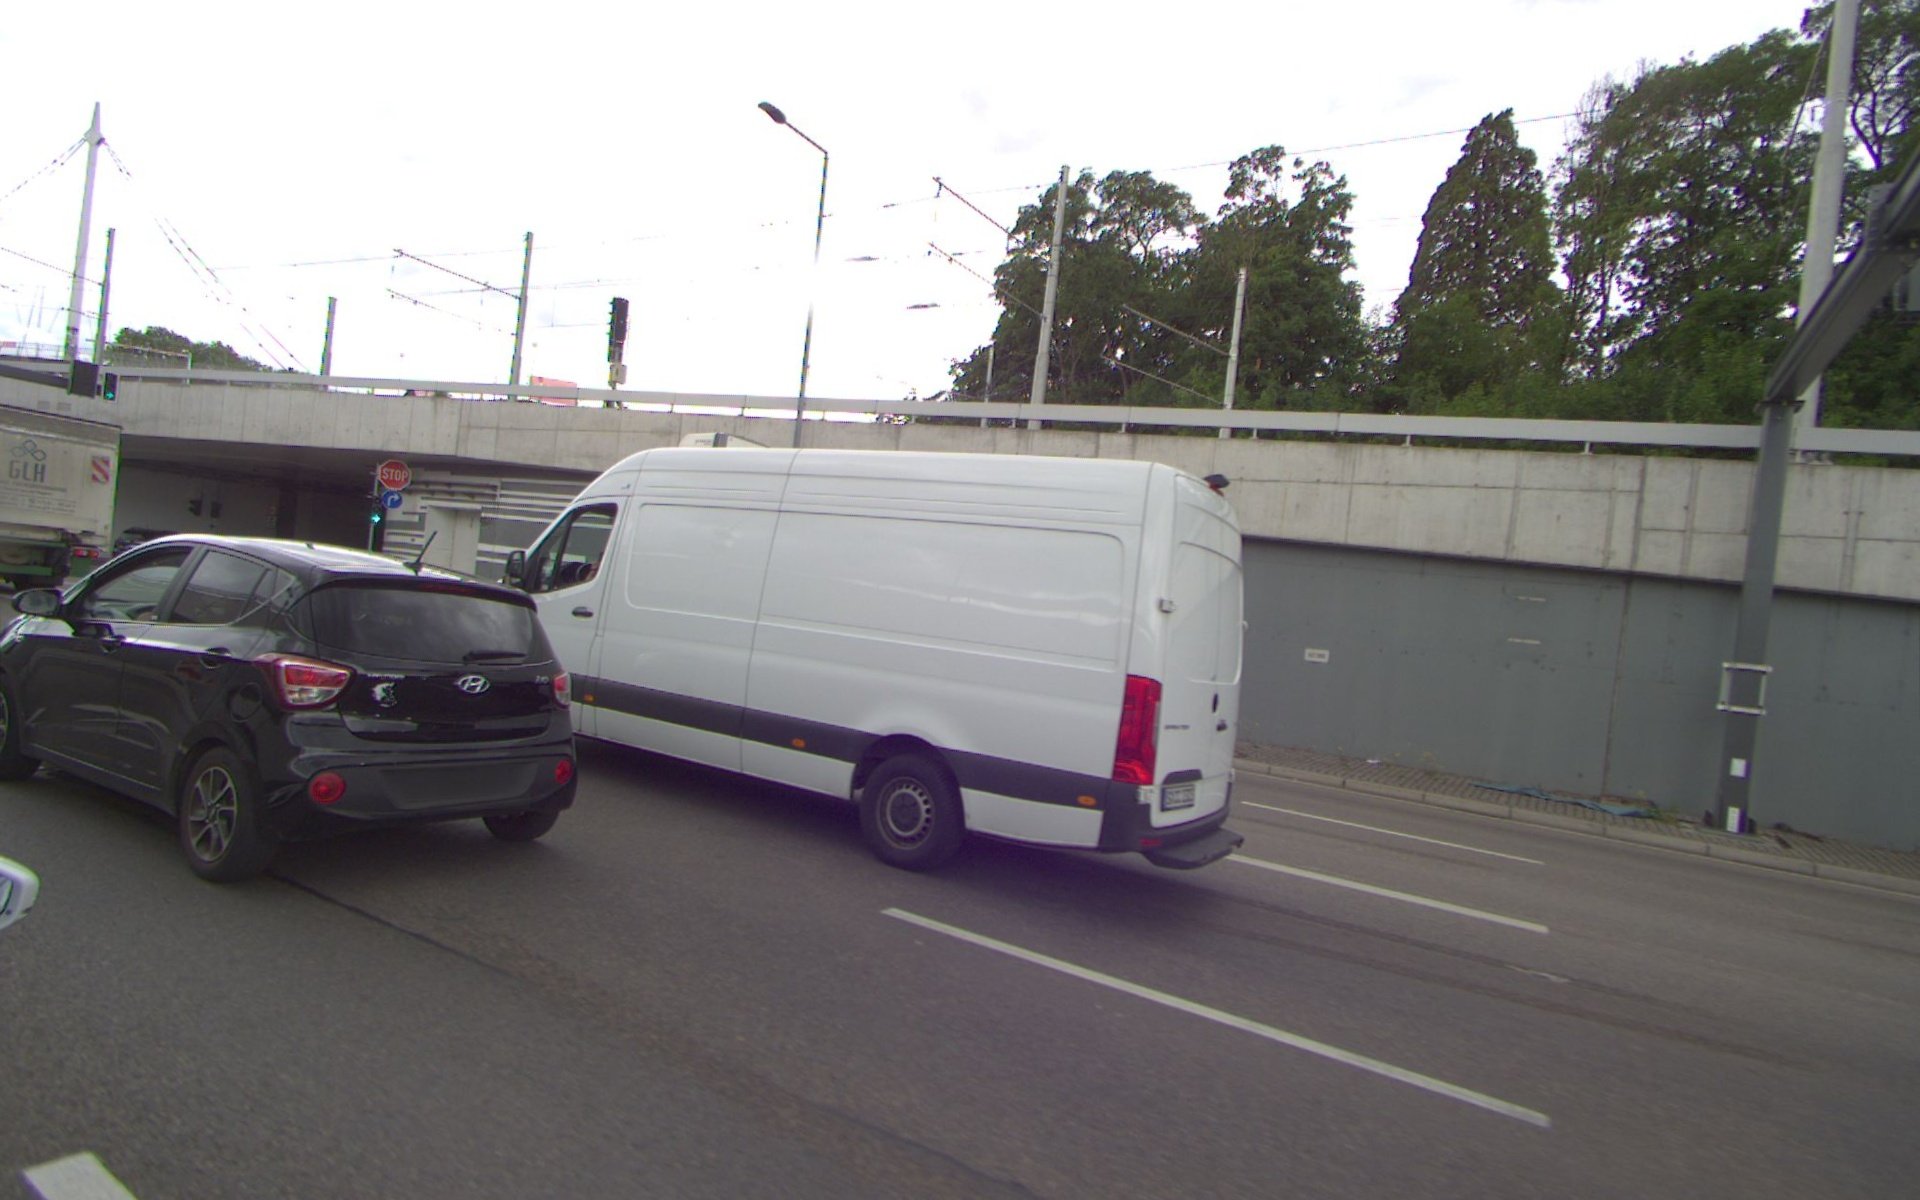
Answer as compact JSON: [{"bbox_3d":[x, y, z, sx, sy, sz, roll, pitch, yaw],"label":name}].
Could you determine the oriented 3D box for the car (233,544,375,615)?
[{"bbox_3d":[-17.262,-0.565,26.391,4.405,1.420,1.989,7,2,42],"label":"car"}]

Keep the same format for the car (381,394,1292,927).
[{"bbox_3d":[-1.424,0.035,8.017,7.203,2.807,2.079,7,0,31],"label":"car"}]

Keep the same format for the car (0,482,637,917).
[{"bbox_3d":[-3.800,0.349,5.531,3.629,1.562,1.686,7,-2,29],"label":"car"}]

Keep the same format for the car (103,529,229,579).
[{"bbox_3d":[-29.991,-1.736,38.156,1.800,1.610,3.992,6,2,-6],"label":"car"}]

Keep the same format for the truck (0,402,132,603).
[{"bbox_3d":[-18.992,-1.969,19.050,7.302,3.224,2.653,6,0,31],"label":"truck"}]
